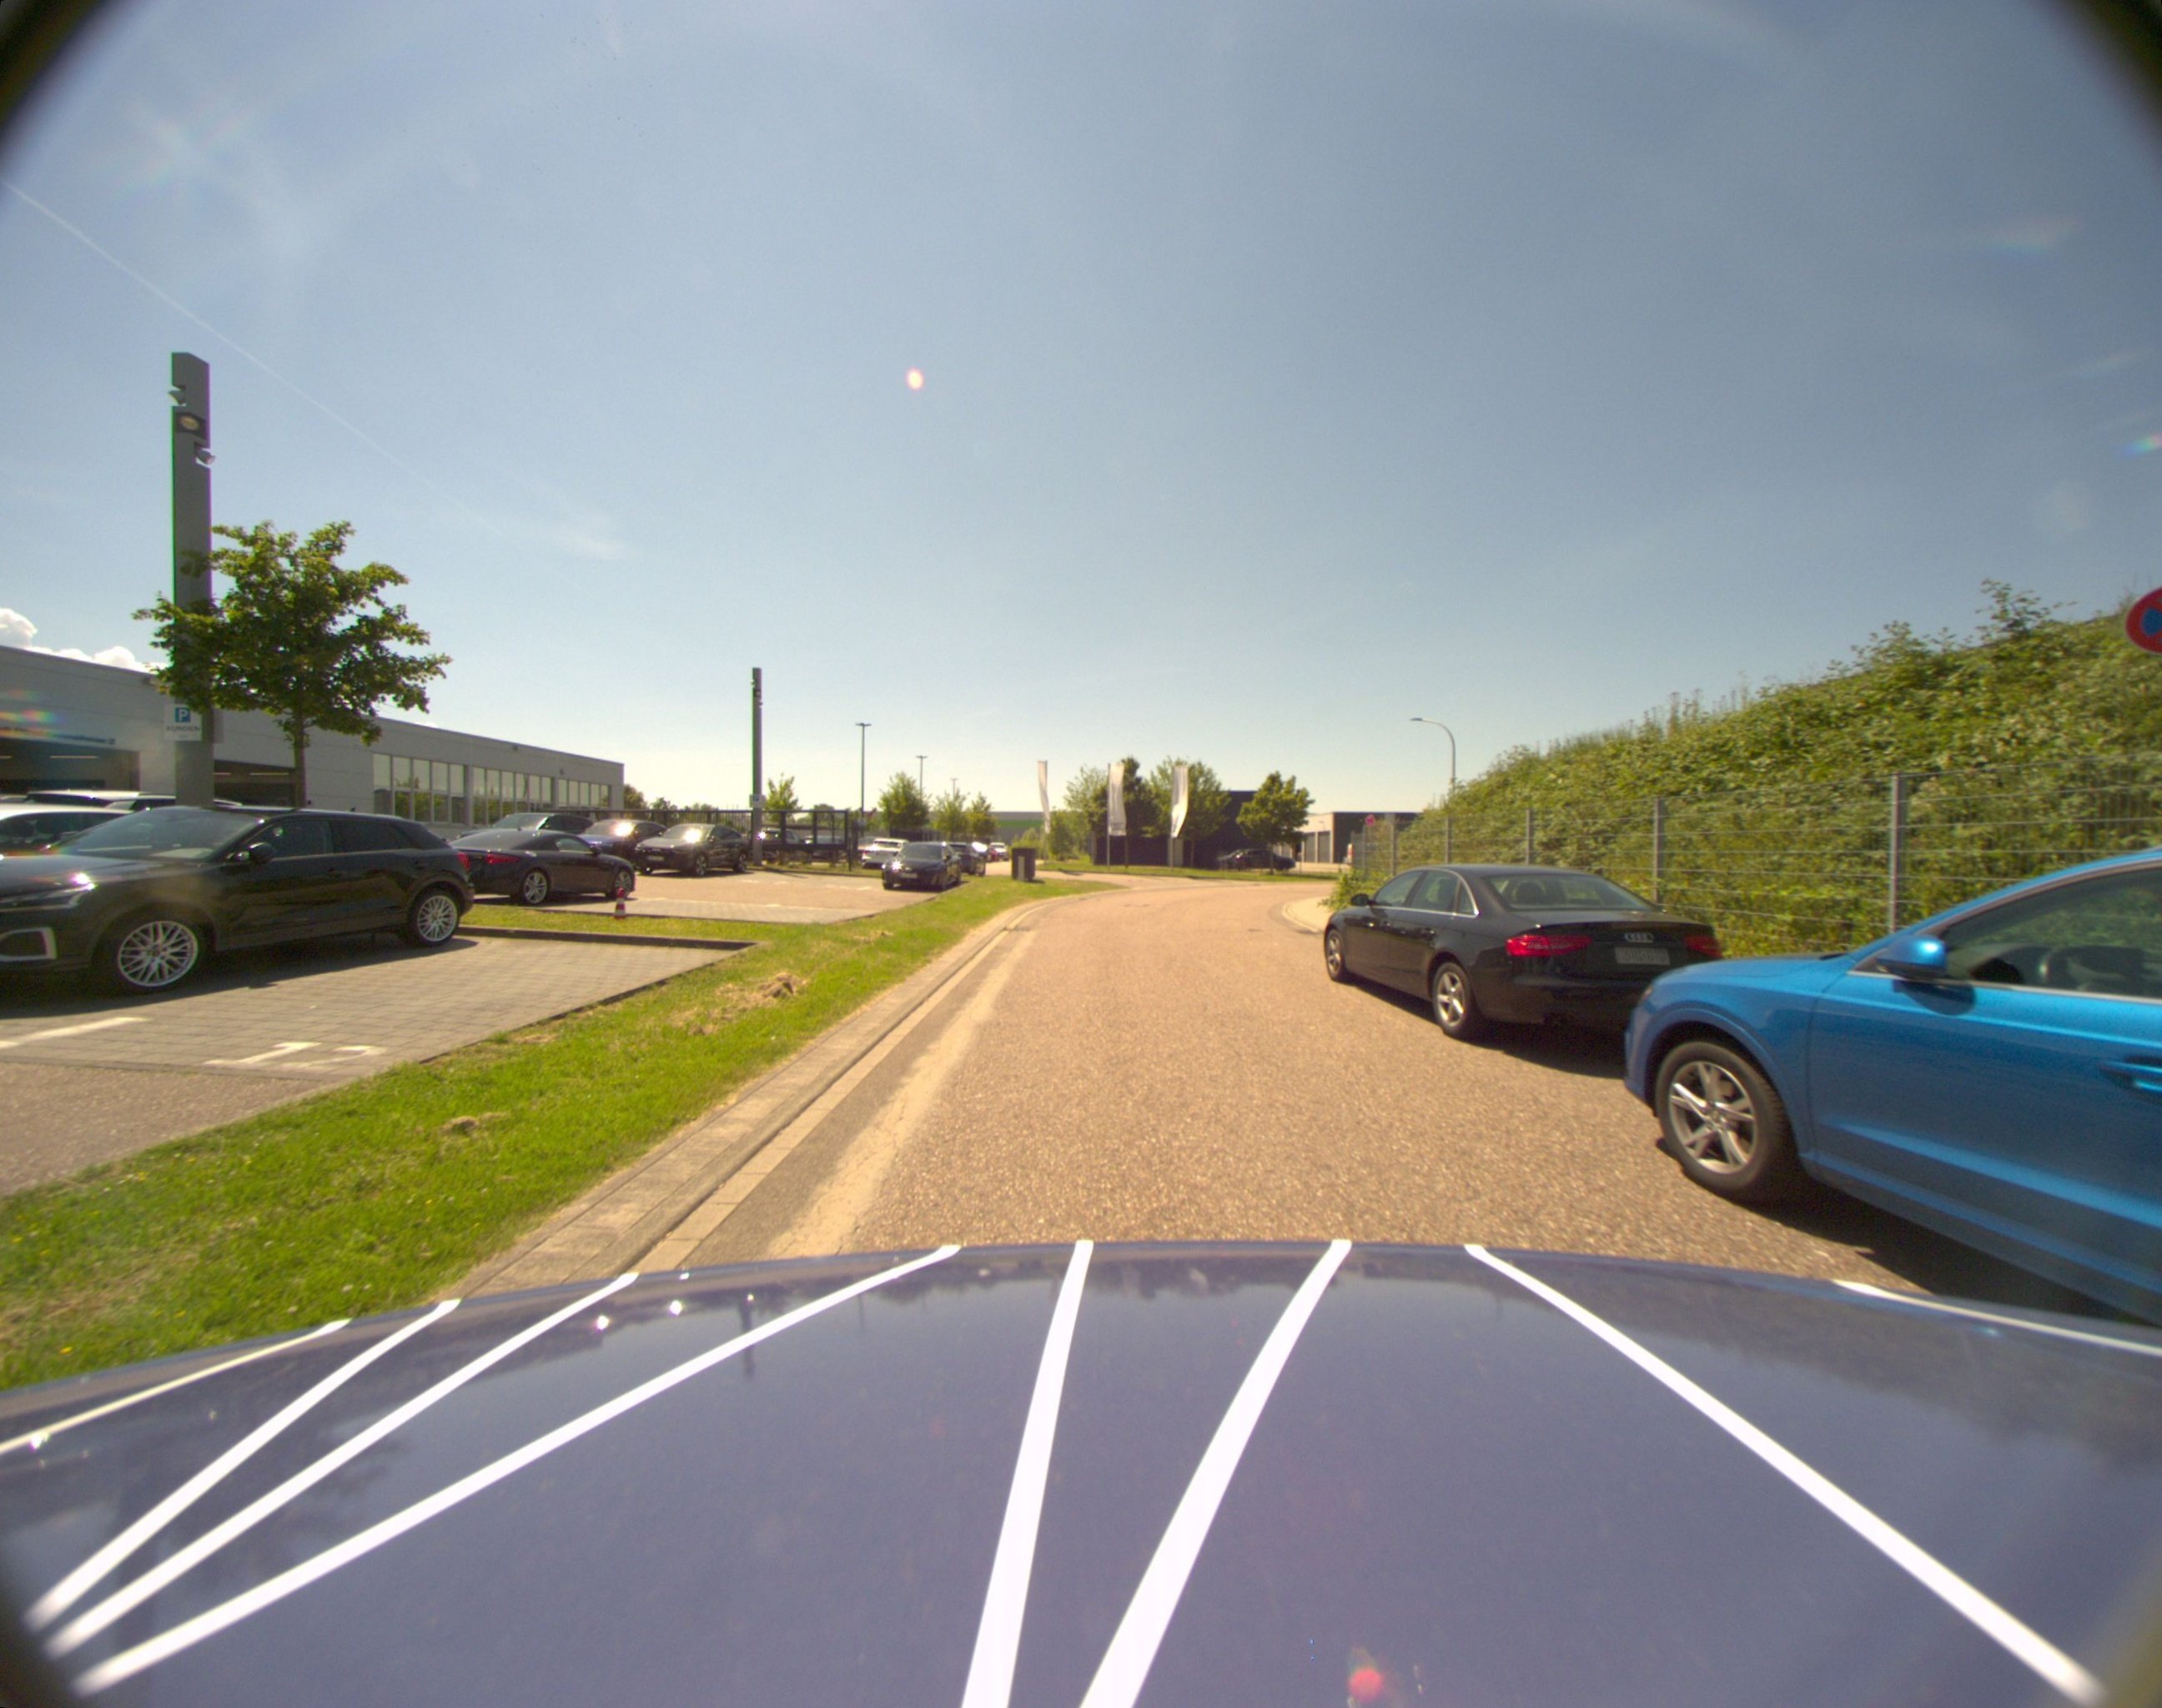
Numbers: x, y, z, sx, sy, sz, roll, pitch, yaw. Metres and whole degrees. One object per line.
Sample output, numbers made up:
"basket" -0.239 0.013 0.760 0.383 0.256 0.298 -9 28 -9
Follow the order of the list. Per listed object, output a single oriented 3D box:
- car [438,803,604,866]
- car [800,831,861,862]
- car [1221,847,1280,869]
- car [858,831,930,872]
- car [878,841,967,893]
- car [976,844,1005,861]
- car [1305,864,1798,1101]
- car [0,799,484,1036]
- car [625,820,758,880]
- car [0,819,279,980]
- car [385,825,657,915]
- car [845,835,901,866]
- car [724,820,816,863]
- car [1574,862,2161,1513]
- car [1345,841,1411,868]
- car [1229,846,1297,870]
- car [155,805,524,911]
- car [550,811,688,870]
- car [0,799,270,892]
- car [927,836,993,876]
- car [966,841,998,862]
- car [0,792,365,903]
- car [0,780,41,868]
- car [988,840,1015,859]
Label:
"car" -18.114 -0.596 24.911 1.966 1.732 4.625 4 1 -1
"car" -14.471 -0.438 44.168 1.966 1.620 4.625 2 1 -1
"car" 13.284 0.322 59.639 4.169 1.558 1.780 2 1 -1
"car" -7.794 -0.132 32.191 1.824 1.520 4.944 2 1 -1
"car" -5.061 0.382 24.968 1.884 1.446 5.023 3 0 -1
"car" -7.833 -0.188 66.019 1.779 1.349 4.172 2 1 2
"car" 3.775 0.884 7.297 1.829 1.446 4.580 1 1 -1
"car" -8.197 0.371 7.090 1.892 1.562 4.226 4 1 -1
"car" -12.476 -0.164 24.751 1.829 1.634 4.784 4 1 -1
"car" -10.568 0.380 6.953 1.966 1.358 4.226 4 1 -1
"car" -10.260 0.271 14.446 1.966 1.367 4.311 2 0 -1
"car" -11.864 -0.228 43.699 1.966 1.620 4.625 2 1 -1
"car" -12.967 -0.512 31.992 1.966 1.620 4.625 2 1 -1
"car" 3.588 0.856 1.870 1.829 1.561 4.386 1 1 -1
"car" 29.559 0.028 75.830 5.675 2.443 2.196 -2 0 -1
"car" 12.534 0.242 52.585 4.280 1.592 1.780 -1 1 -1
"car" -13.196 0.047 14.146 1.966 1.544 5.004 2 1 -1
"car" -15.105 -0.425 25.185 1.829 1.684 4.416 4 1 -1
"car" -18.067 -0.189 13.810 1.966 1.468 4.371 2 1 -1
"car" -4.915 0.045 31.659 1.966 1.459 4.944 2 1 -1
"car" -7.824 -0.241 60.349 1.779 1.558 4.406 2 1 2
"car" -15.712 -0.127 13.482 1.966 1.604 4.288 2 1 -1
"car" -22.173 -0.606 13.107 1.966 1.729 4.728 2 1 -1
"car" -7.463 -0.420 71.799 1.823 1.637 4.396 2 1 2
